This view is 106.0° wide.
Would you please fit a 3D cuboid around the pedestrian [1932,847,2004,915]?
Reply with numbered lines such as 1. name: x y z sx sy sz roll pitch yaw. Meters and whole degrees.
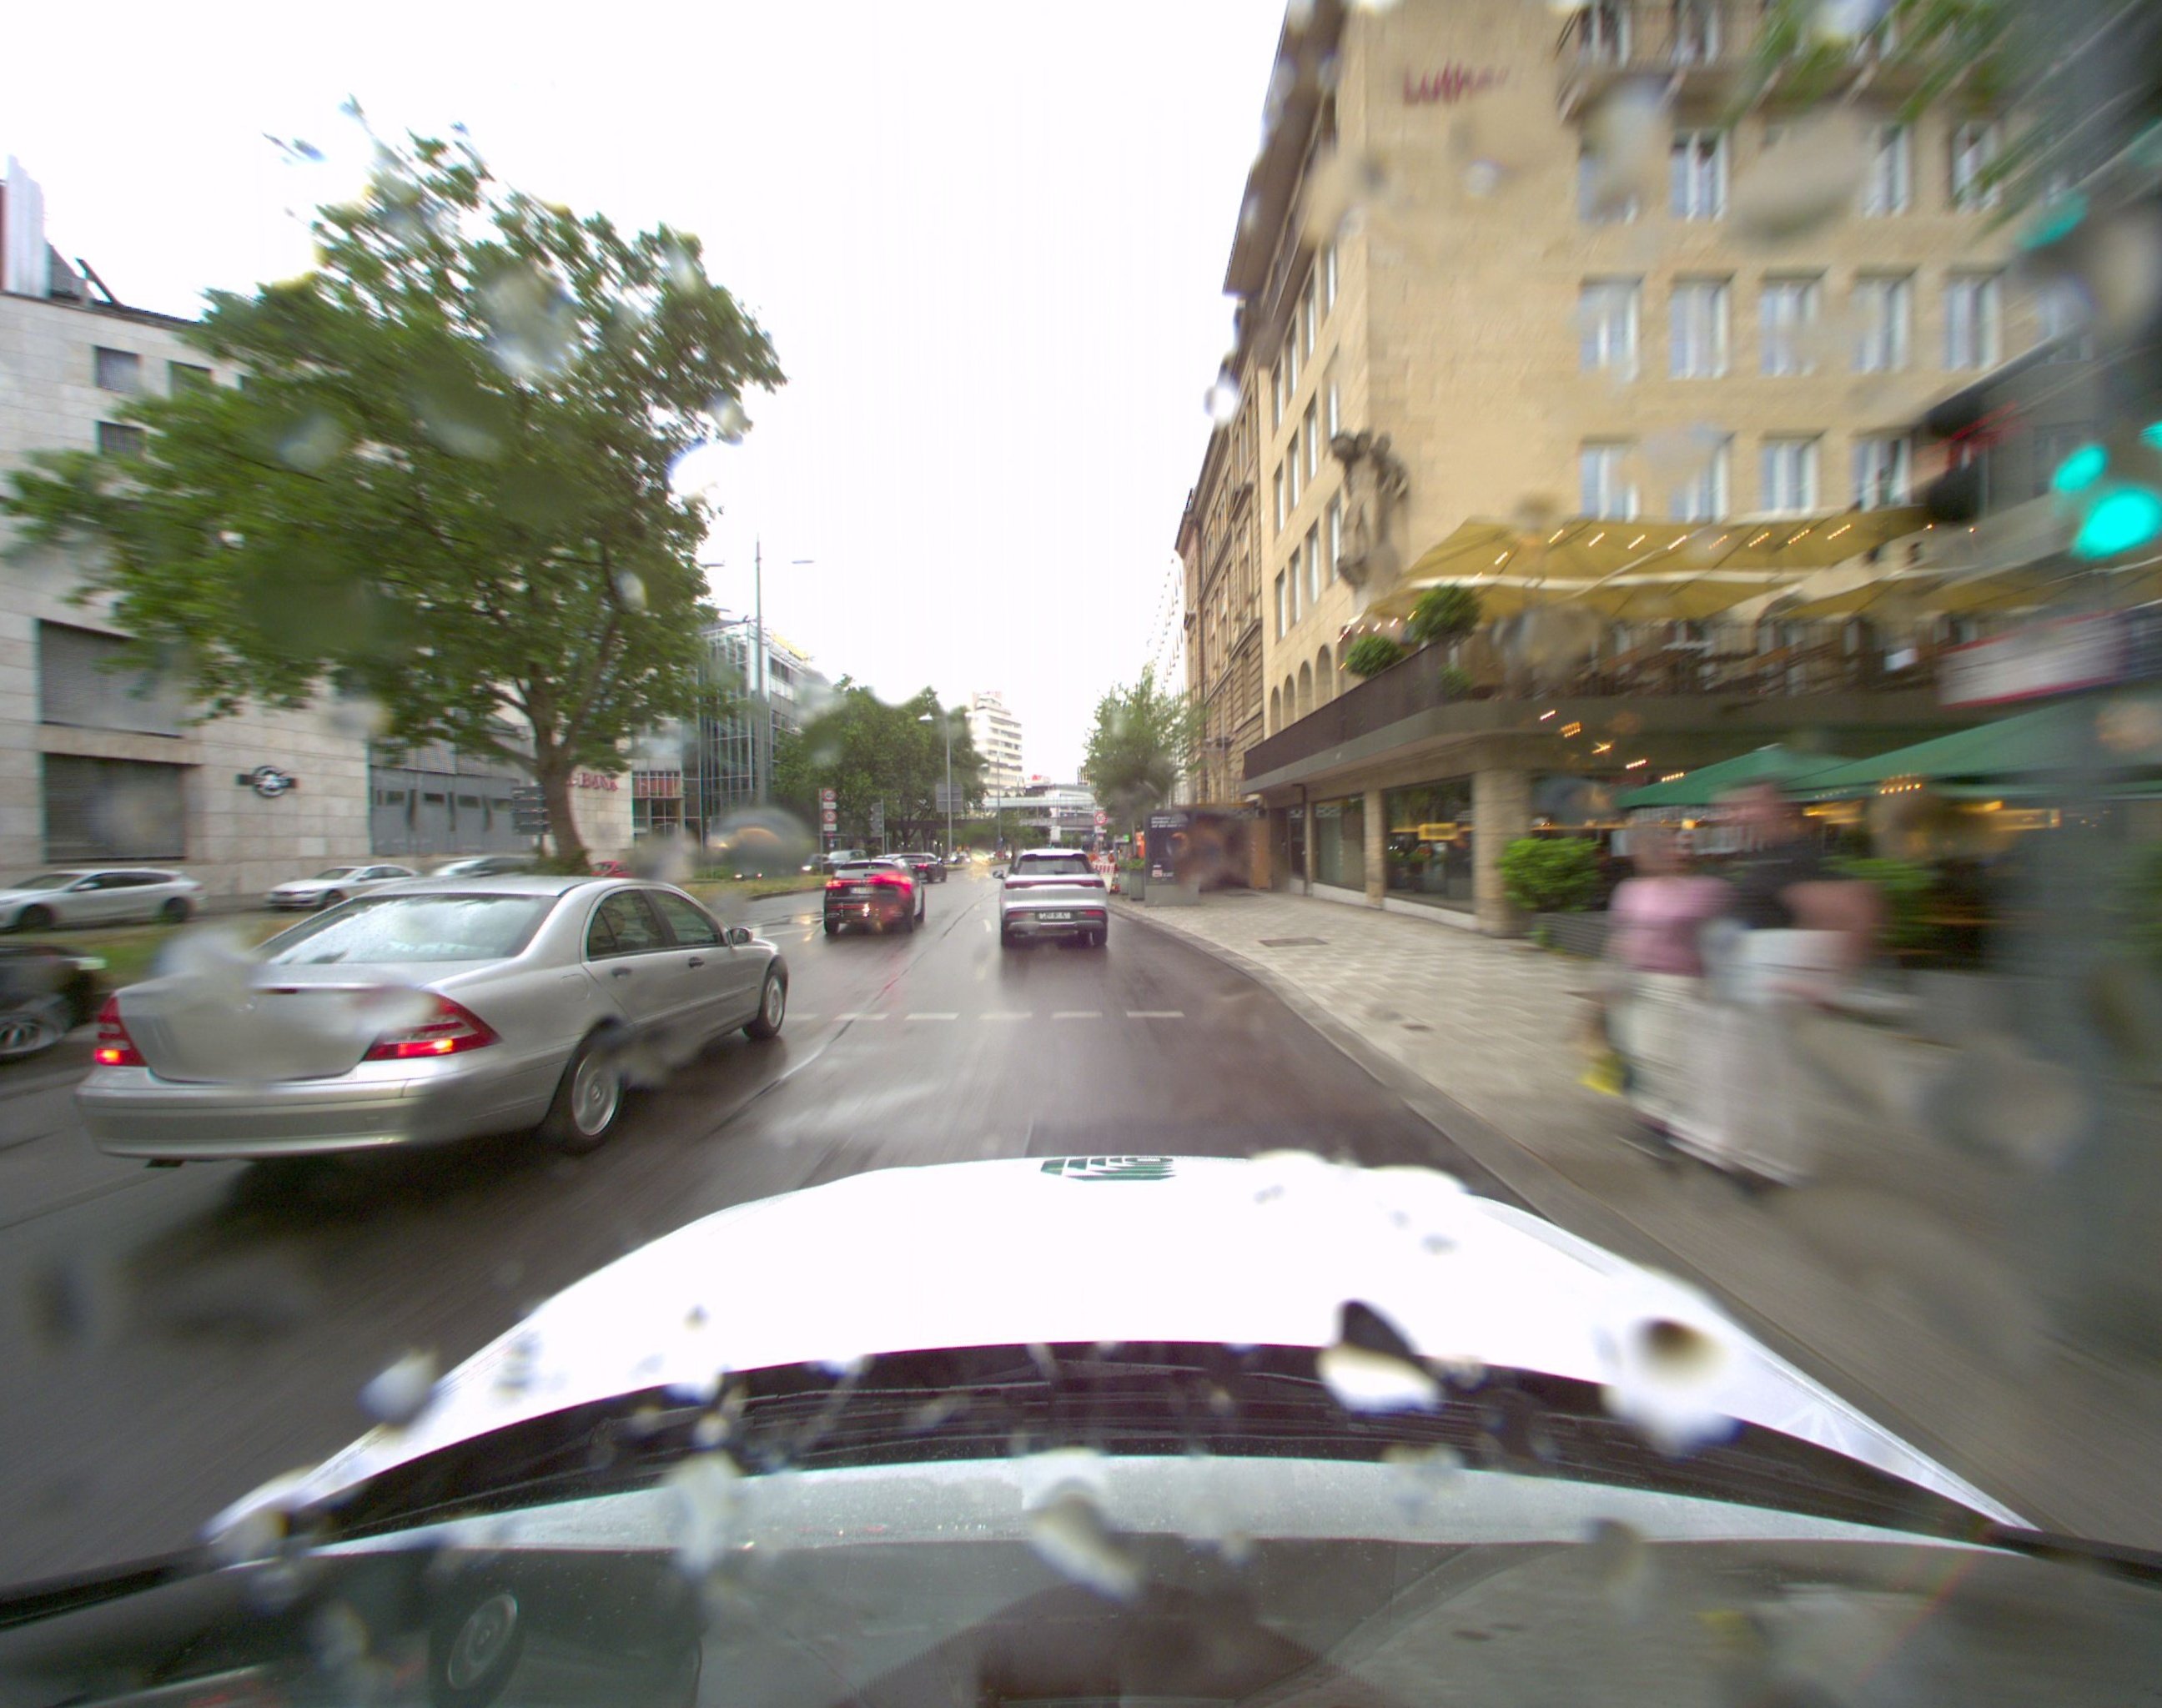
1. pedestrian: 13.949 0.413 12.818 0.552 1.055 0.545 0 0 3

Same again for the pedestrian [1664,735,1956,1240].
1. pedestrian: 2.868 0.488 3.268 0.629 1.835 0.564 -1 -1 5

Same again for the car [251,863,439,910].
1. car: -24.429 1.018 27.329 1.739 1.415 4.712 -1 -1 5

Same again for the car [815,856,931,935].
1. car: -4.285 0.795 17.324 1.771 1.457 3.992 -1 -1 -6

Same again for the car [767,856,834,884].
1. car: -14.264 0.791 41.647 1.738 1.364 3.950 -1 -1 6

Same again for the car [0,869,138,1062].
1. car: -9.438 0.921 4.799 1.864 1.479 4.882 -2 0 3

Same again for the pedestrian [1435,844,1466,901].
1. pedestrian: 7.036 0.345 15.502 0.328 1.073 0.479 0 0 -8

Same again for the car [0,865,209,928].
1. car: -25.138 0.998 20.388 1.738 1.415 4.301 -1 -1 6

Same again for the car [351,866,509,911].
1. car: -21.977 1.121 27.733 1.738 1.364 4.181 -1 -1 6

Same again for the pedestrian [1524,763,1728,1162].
1. pedestrian: 2.771 0.499 4.170 0.592 1.835 0.624 0 -1 -26

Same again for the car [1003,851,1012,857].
1. car: -17.284 0.012 191.787 1.590 1.360 4.119 -1 -1 3

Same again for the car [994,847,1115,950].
1. car: -0.605 0.694 14.909 1.898 1.621 3.992 1 0 -6

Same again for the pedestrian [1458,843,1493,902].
1. pedestrian: 7.225 0.326 14.903 0.538 1.055 0.411 0 0 32

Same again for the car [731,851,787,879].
1. car: -20.080 0.661 50.923 1.825 1.639 4.091 -1 -1 0

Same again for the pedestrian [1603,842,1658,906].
1. pedestrian: 9.134 0.323 13.549 0.552 1.055 0.545 0 0 3

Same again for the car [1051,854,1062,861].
1. car: -4.364 0.647 146.978 1.647 1.342 4.003 0 0 3

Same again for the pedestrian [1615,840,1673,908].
1. pedestrian: 8.931 0.314 12.936 0.552 1.055 0.545 0 0 3

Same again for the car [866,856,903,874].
1. car: -16.635 0.896 69.139 1.719 1.432 4.400 -1 -1 4

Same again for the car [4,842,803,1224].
1. car: -3.382 0.695 5.368 1.668 1.479 4.358 1 0 -2

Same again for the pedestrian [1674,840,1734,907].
1. pedestrian: 9.900 0.300 12.960 0.552 1.055 0.545 0 0 3

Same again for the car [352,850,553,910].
1. car: -15.960 0.626 20.996 1.739 1.364 4.135 -1 -1 4

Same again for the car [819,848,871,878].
1. car: -16.608 0.606 57.623 1.822 2.002 5.110 -1 -1 4

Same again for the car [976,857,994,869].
1. car: -13.546 1.226 114.759 1.867 1.680 4.681 -1 -1 1

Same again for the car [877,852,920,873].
1. car: -13.081 0.634 58.691 1.852 1.442 4.318 -1 -1 4

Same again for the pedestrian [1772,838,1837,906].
1. pedestrian: 11.485 0.278 12.946 0.552 1.055 0.545 0 0 3

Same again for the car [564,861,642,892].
1. car: -23.481 1.072 40.153 1.584 1.415 3.406 -1 -1 5

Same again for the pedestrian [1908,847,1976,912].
1. pedestrian: 14.324 0.417 13.557 0.552 1.055 0.545 0 0 3

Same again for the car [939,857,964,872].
1. car: -13.038 1.079 82.084 1.694 1.437 4.583 -1 -1 1

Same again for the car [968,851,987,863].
1. car: -12.587 0.396 99.557 1.590 1.360 4.119 -1 -1 3

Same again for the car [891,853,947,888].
1. car: -7.690 0.762 38.999 1.805 1.578 4.001 0 0 1

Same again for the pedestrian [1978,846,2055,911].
1. pedestrian: 15.565 0.398 13.563 0.552 1.055 0.652 0 0 3
